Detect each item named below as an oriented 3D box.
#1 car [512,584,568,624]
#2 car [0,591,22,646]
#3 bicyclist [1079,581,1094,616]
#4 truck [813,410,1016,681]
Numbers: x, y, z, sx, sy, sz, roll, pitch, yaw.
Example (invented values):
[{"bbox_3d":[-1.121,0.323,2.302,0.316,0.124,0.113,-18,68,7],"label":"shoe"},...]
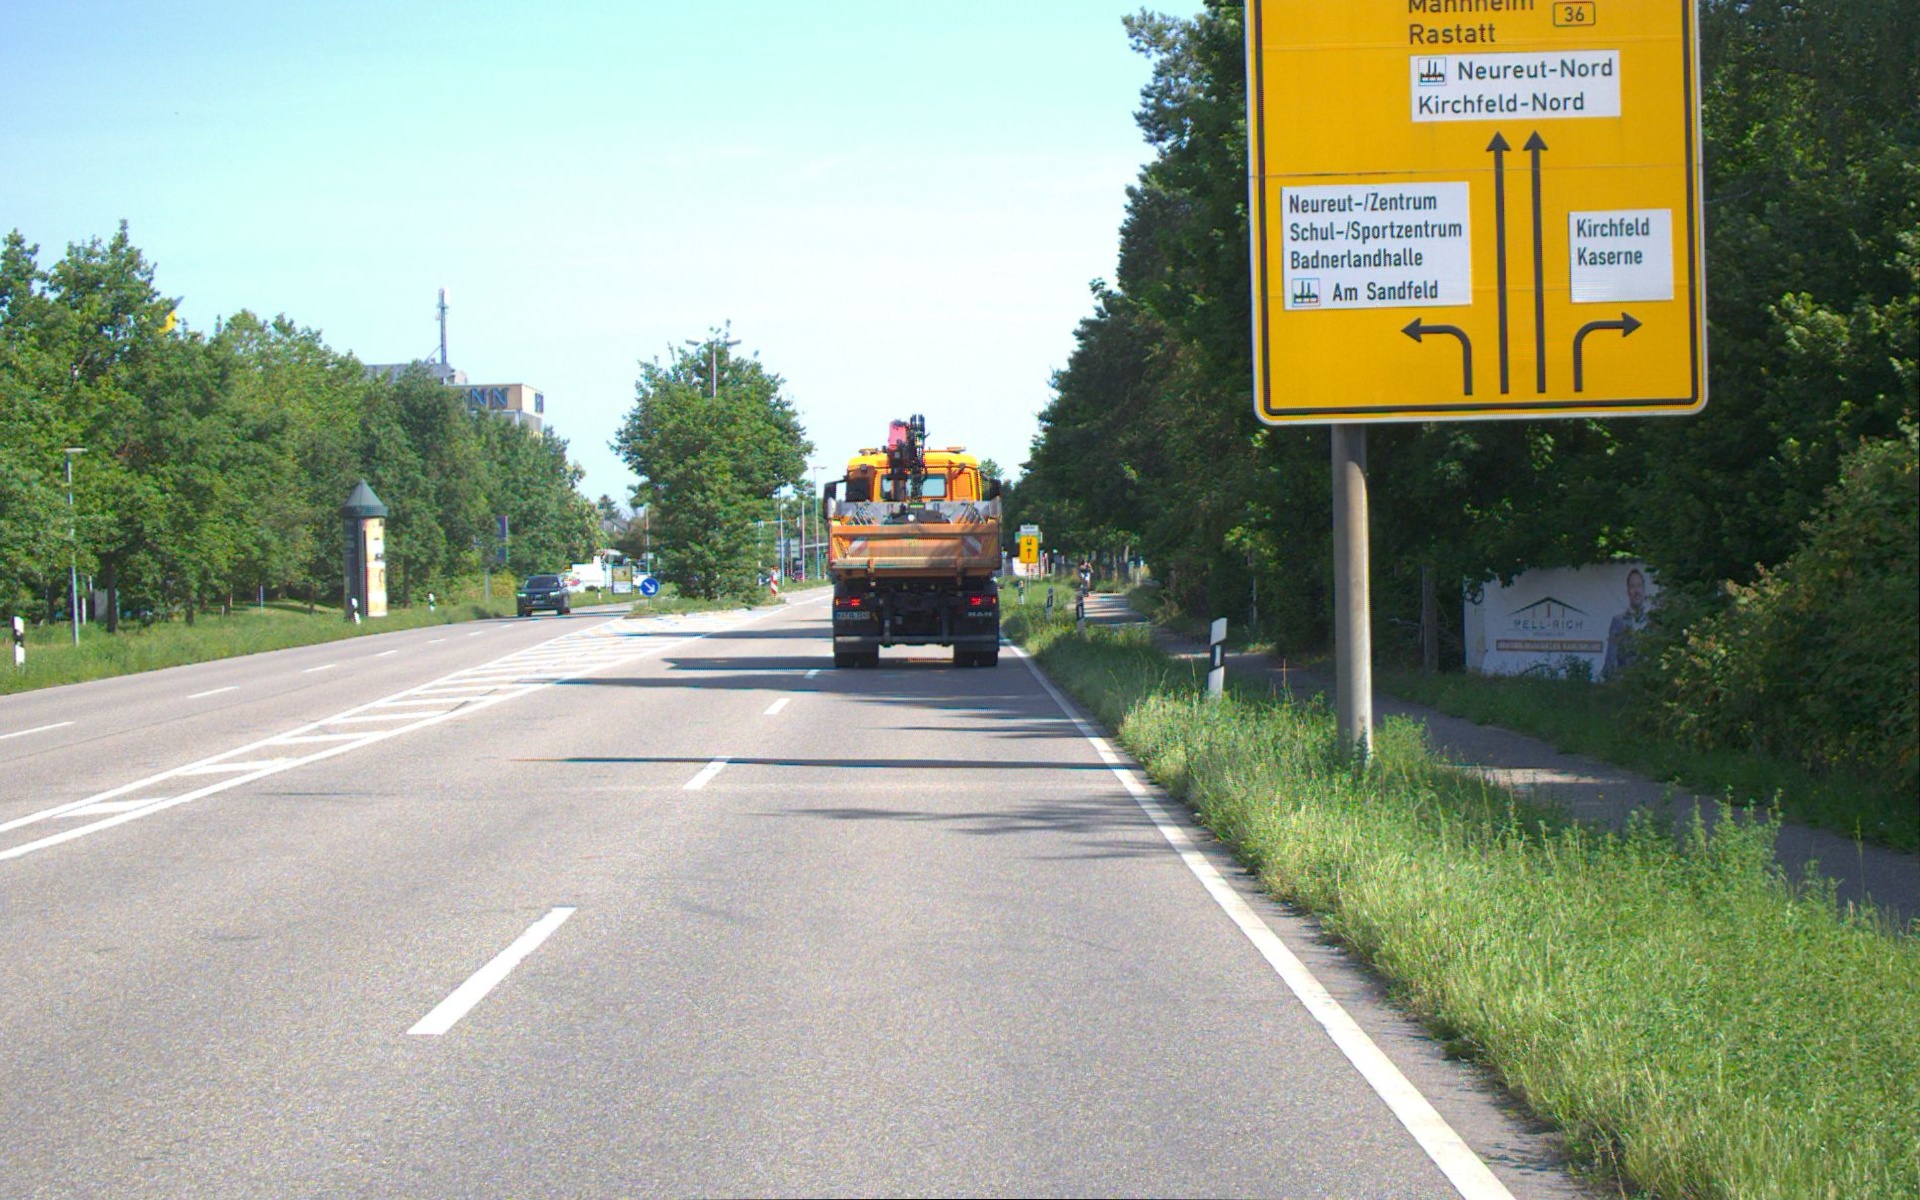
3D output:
[{"bbox_3d":[-17.357,0.161,142.231,1.800,1.566,4.000,-2,0,-1],"label":"car"},{"bbox_3d":[-33.216,0.655,112.344,4.533,1.752,2.000,-2,0,3],"label":"car"},{"bbox_3d":[5.643,-0.058,153.292,0.558,1.553,0.557,-2,0,-1],"label":"bicyclist"},{"bbox_3d":[-0.807,-0.812,53.497,2.871,3.867,7.400,1,0,-2],"label":"truck"}]
